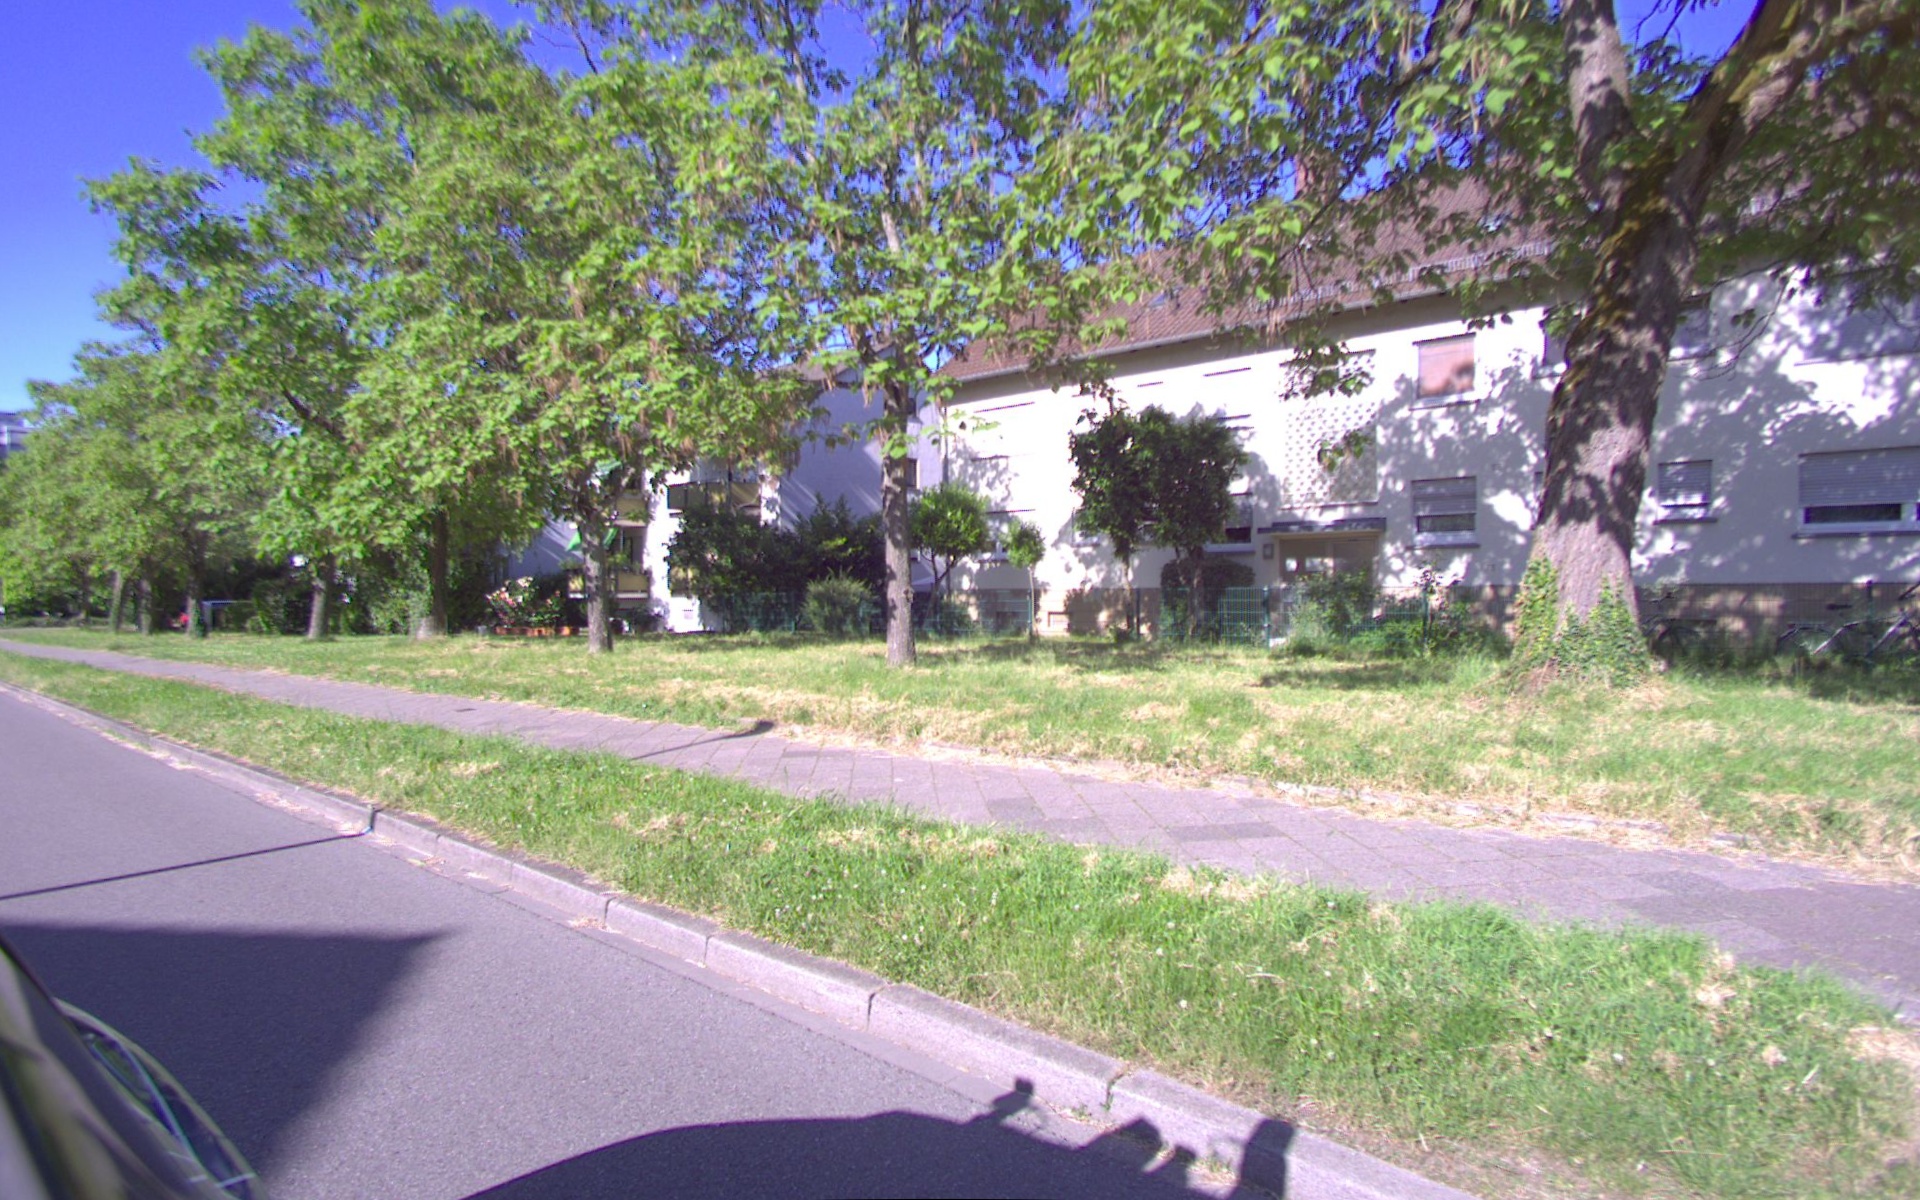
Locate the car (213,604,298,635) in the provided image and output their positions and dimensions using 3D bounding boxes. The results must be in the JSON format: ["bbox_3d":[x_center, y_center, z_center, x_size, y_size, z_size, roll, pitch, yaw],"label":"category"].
[{"bbox_3d":[-47.679,1.323,68.542,2.069,1.984,4.402,-2,-1,44],"label":"car"}]

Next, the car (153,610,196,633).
[{"bbox_3d":[-56.156,1.536,72.325,3.883,1.498,1.653,1,1,40],"label":"car"}]

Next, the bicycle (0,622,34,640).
[{"bbox_3d":[-64.941,2.128,69.523,1.875,1.161,0.762,-1,3,-39],"label":"bicycle"}]
